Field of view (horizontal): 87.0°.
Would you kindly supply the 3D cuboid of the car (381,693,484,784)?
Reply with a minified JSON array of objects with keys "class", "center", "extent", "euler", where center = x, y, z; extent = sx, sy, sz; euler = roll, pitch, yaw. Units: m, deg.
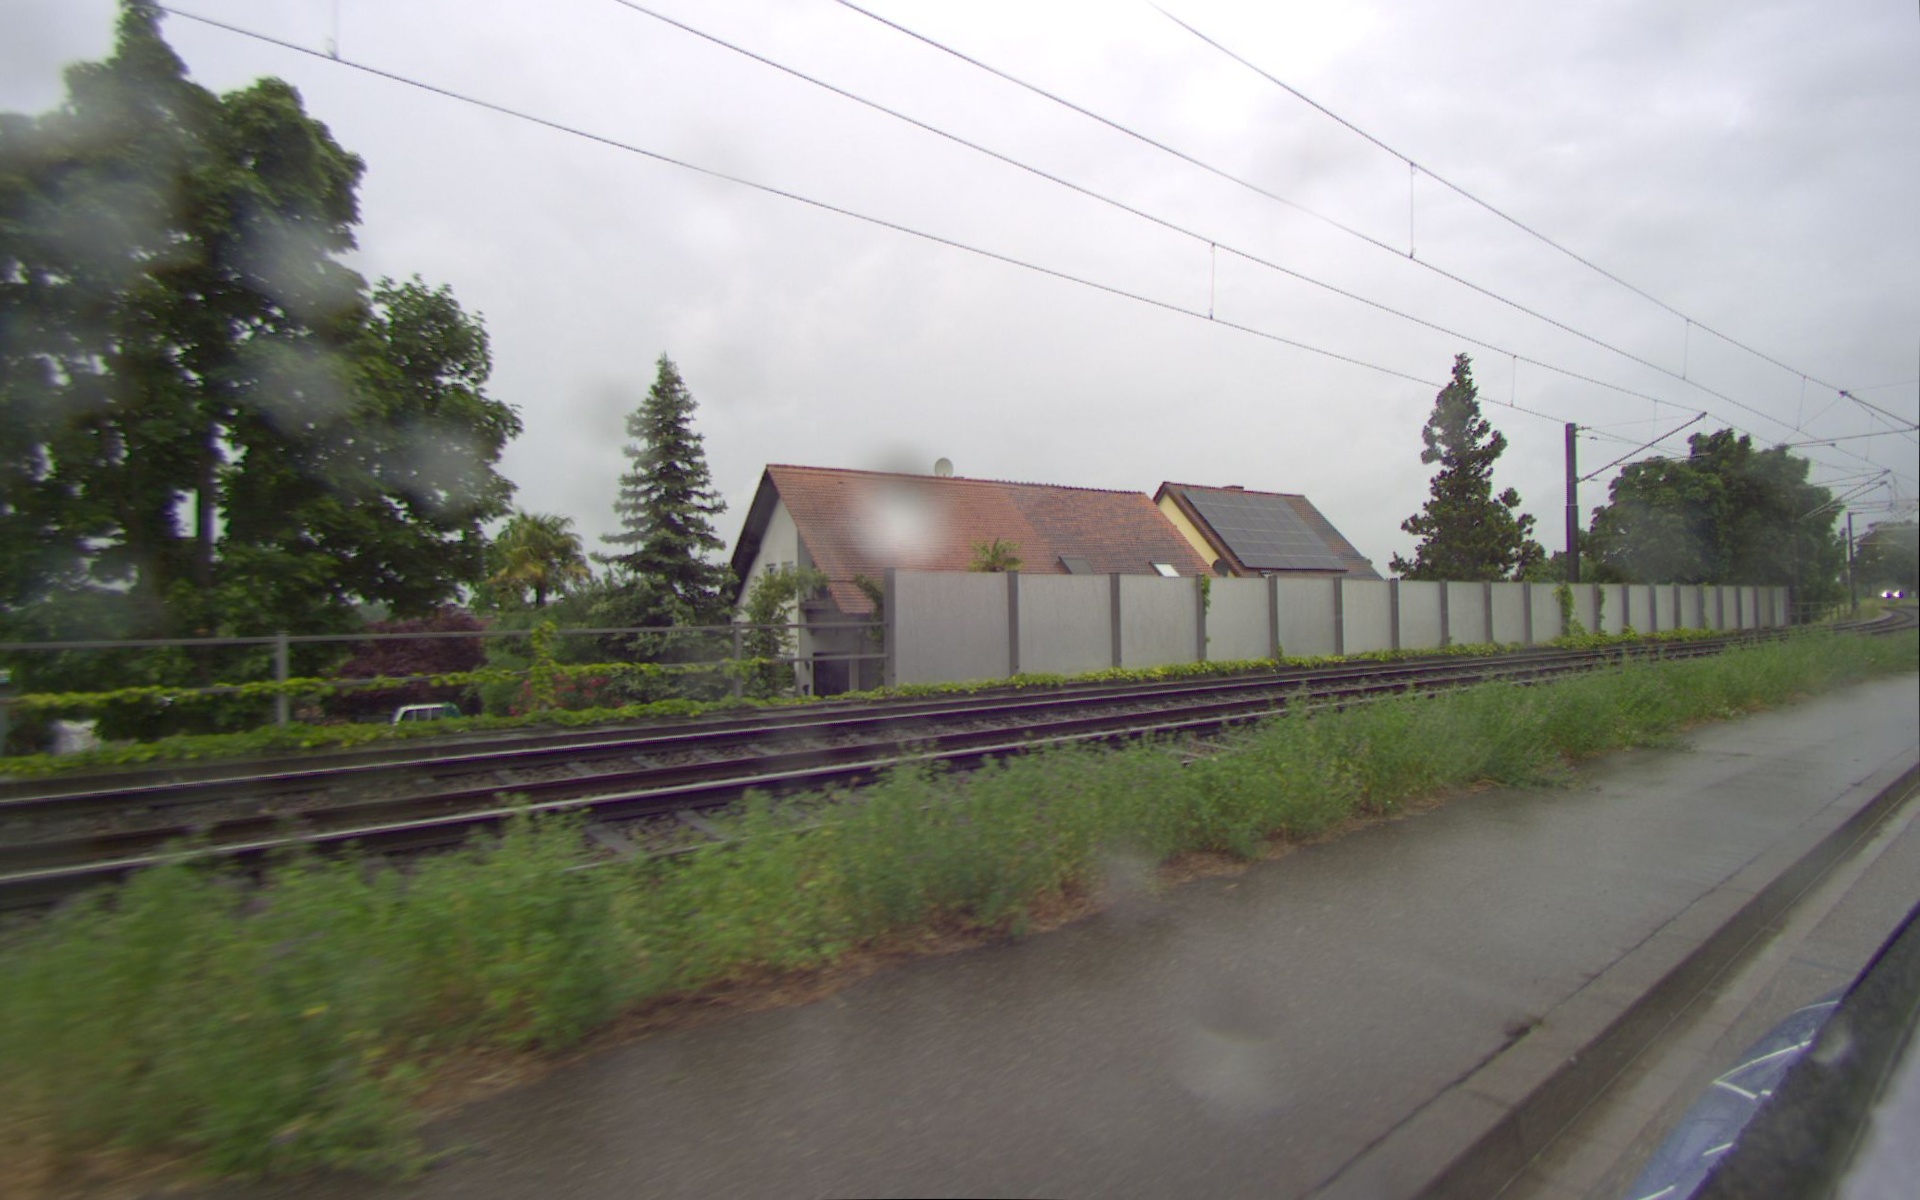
[{"class":"car","center":[-12.837,3.246,24.499],"extent":[1.842,1.658,4.197],"euler":[-2,-1,-32]}]
